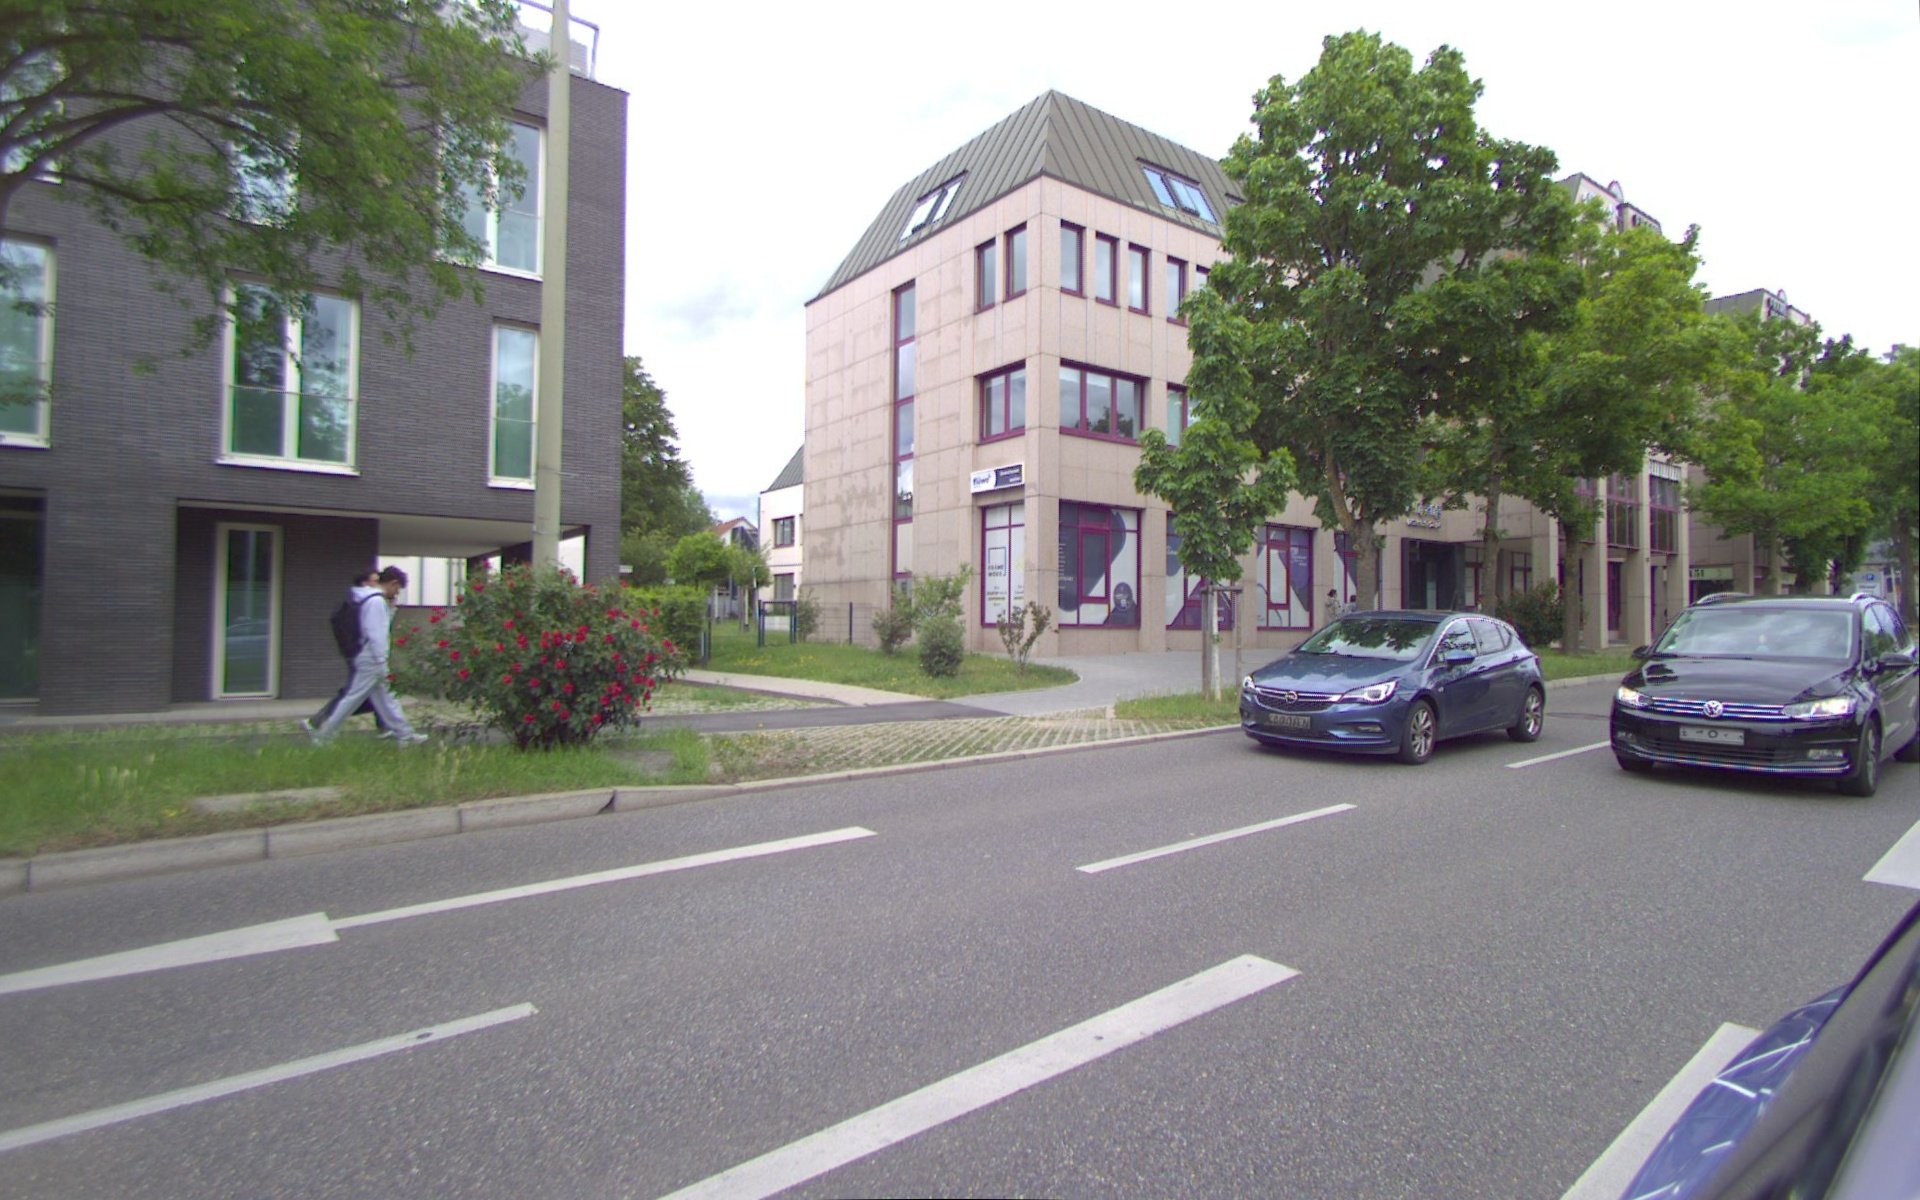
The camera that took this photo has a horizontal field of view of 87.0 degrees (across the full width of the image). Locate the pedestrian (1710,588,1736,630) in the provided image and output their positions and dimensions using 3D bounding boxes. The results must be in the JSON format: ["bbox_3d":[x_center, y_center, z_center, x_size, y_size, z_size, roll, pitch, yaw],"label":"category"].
[{"bbox_3d":[32.330,0.373,42.875,0.827,1.712,0.659,0,1,-36],"label":"pedestrian"}]

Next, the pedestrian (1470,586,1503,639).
[{"bbox_3d":[17.515,0.421,33.680,0.951,1.726,0.597,0,-1,-35],"label":"pedestrian"}]

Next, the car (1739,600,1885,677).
[{"bbox_3d":[18.492,0.758,21.904,4.343,1.467,1.767,-1,0,-41],"label":"car"}]

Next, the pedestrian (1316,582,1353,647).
[{"bbox_3d":[10.164,0.381,27.465,0.814,1.721,0.569,0,-1,-36],"label":"pedestrian"}]

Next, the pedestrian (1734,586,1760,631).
[{"bbox_3d":[32.844,0.344,42.235,0.827,1.849,0.659,0,1,-36],"label":"pedestrian"}]

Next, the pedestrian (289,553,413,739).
[{"bbox_3d":[-6.210,0.464,10.328,0.936,1.798,0.609,3,-3,-40],"label":"pedestrian"}]

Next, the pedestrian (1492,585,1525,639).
[{"bbox_3d":[17.979,0.396,33.166,0.951,1.726,0.597,0,-1,-35],"label":"pedestrian"}]

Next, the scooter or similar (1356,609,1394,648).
[{"bbox_3d":[11.129,0.759,27.145,0.830,1.006,0.585,0,0,-34],"label":"scooter or similar"}]

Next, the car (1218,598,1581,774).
[{"bbox_3d":[4.840,0.743,10.872,4.238,1.457,1.970,0,1,-42],"label":"car"}]

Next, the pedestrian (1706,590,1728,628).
[{"bbox_3d":[31.091,0.363,41.549,0.534,1.569,0.563,0,1,-36],"label":"pedestrian"}]

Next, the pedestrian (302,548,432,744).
[{"bbox_3d":[-5.761,0.442,9.838,0.936,1.798,0.609,3,-3,-40],"label":"pedestrian"}]

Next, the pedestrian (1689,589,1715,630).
[{"bbox_3d":[31.895,0.400,43.508,0.827,1.712,0.659,0,1,-36],"label":"pedestrian"}]

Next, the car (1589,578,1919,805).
[{"bbox_3d":[7.754,0.654,9.562,4.238,1.661,1.970,0,1,-42],"label":"car"}]

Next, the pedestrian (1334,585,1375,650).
[{"bbox_3d":[10.389,0.454,26.641,0.943,1.673,0.557,0,0,-34],"label":"pedestrian"}]
